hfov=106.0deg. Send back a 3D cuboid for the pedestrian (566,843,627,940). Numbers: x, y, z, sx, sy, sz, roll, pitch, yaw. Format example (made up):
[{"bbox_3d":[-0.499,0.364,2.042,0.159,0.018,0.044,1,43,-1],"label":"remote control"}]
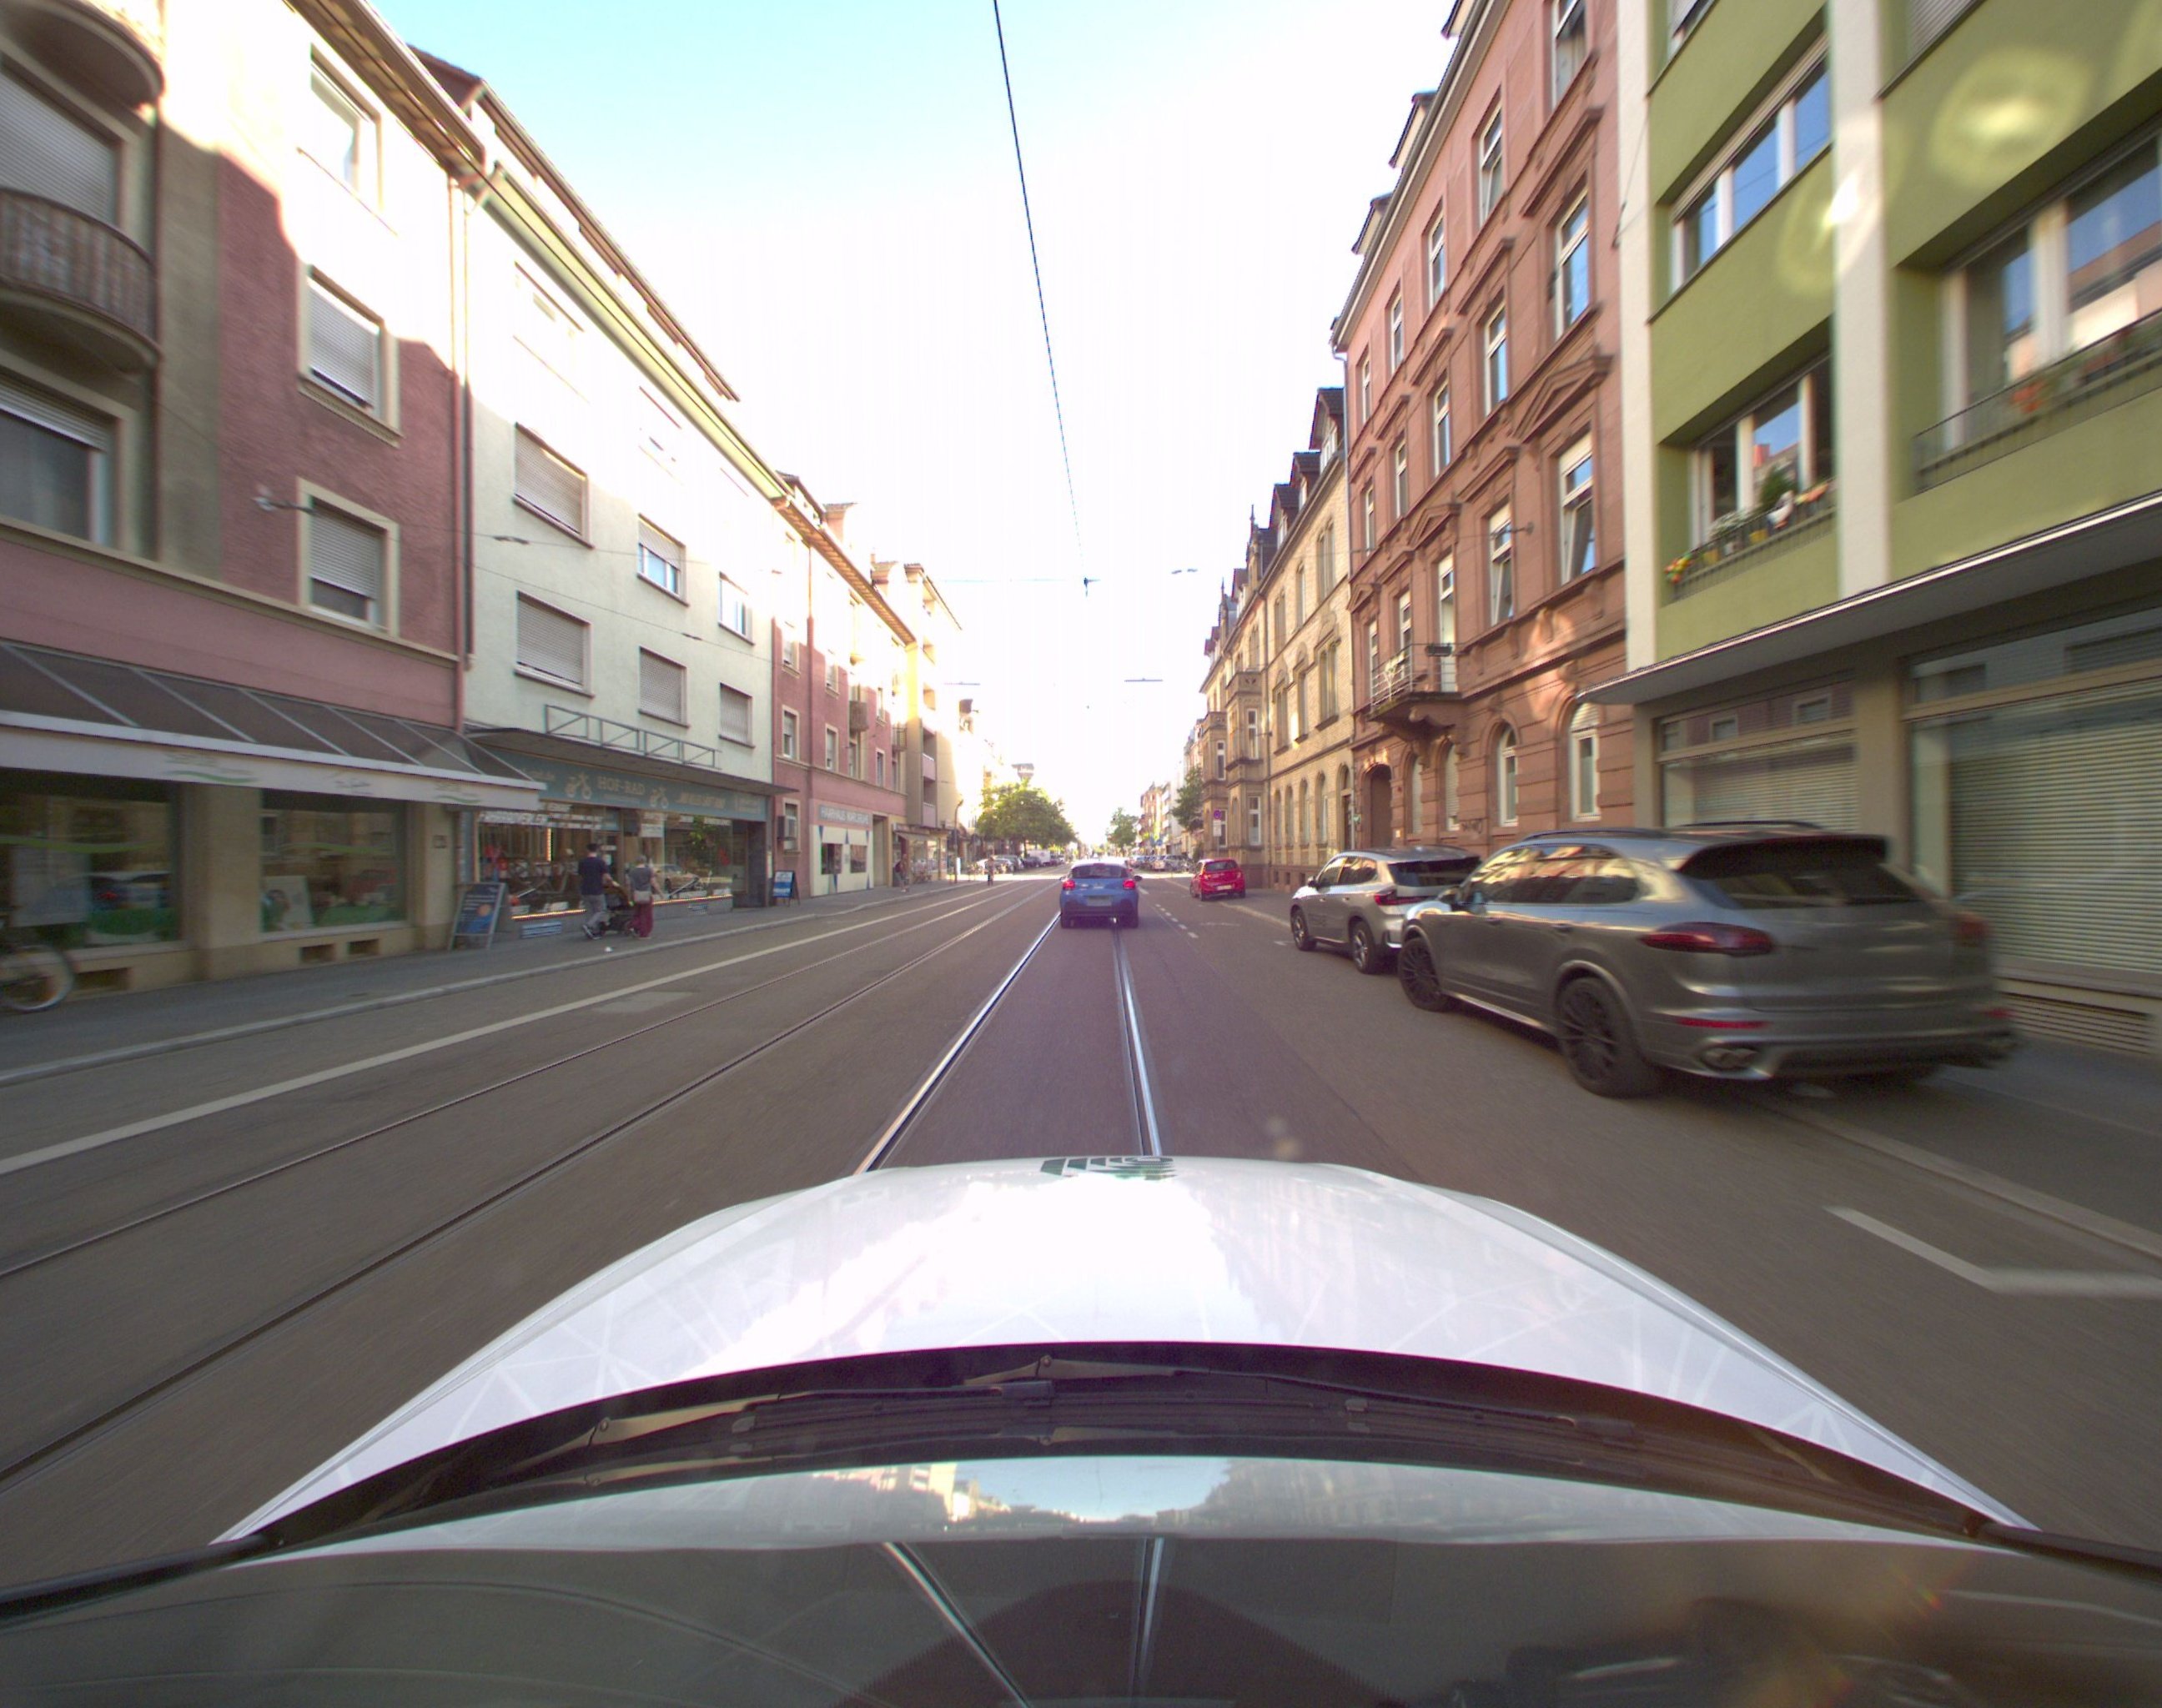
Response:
[{"bbox_3d":[-9.174,0.691,15.440,0.623,1.789,0.821,0,-1,1],"label":"pedestrian"}]

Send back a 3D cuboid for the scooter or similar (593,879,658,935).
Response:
[{"bbox_3d":[-9.166,1.053,16.413,0.659,1.061,1.105,0,0,2],"label":"scooter or similar"}]

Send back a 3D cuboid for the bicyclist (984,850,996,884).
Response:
[{"bbox_3d":[-5.325,0.756,47.766,0.609,2.014,0.734,0,-1,2],"label":"bicyclist"}]

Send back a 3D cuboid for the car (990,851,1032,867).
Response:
[{"bbox_3d":[-8.045,0.626,93.670,4.381,1.783,1.976,0,-1,-31],"label":"car"}]

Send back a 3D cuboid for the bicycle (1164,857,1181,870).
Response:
[{"bbox_3d":[8.161,0.828,72.566,1.551,1.127,0.295,0,-1,7],"label":"bicycle"}]

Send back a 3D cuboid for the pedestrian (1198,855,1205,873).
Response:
[{"bbox_3d":[11.143,0.902,75.310,0.516,1.649,0.864,0,-1,2],"label":"pedestrian"}]

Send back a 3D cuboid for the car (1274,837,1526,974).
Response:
[{"bbox_3d":[4.398,0.645,12.072,1.861,1.646,4.397,0,-1,-2],"label":"car"}]

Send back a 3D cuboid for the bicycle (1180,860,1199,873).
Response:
[{"bbox_3d":[9.532,1.086,71.327,1.665,1.127,0.552,0,-1,7],"label":"bicycle"}]

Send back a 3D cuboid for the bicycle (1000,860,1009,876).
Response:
[{"bbox_3d":[-6.711,1.210,71.523,0.680,1.319,2.434,0,2,-2],"label":"bicycle"}]

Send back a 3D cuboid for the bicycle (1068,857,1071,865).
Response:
[{"bbox_3d":[-2.312,1.433,164.704,0.678,1.679,2.097,0,-1,2],"label":"bicycle"}]

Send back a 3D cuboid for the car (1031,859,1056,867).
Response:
[{"bbox_3d":[-6.001,1.482,130.197,3.815,1.265,1.504,0,-1,-24],"label":"car"}]

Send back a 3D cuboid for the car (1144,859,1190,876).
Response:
[{"bbox_3d":[8.289,1.276,78.506,4.004,1.536,1.904,0,-1,-23],"label":"car"}]

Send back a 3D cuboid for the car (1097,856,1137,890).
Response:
[{"bbox_3d":[1.741,0.897,39.622,1.866,1.596,4.002,0,-1,2],"label":"car"}]

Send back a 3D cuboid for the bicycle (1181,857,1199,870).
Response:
[{"bbox_3d":[9.366,0.803,70.115,1.547,1.127,0.552,0,-1,7],"label":"bicycle"}]

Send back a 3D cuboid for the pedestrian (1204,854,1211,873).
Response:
[{"bbox_3d":[11.680,0.851,75.241,0.516,1.778,0.864,0,-1,2],"label":"pedestrian"}]

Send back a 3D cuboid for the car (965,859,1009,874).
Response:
[{"bbox_3d":[-8.914,1.146,77.396,3.804,1.400,1.737,0,-1,-32],"label":"car"}]

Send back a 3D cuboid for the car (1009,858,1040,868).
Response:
[{"bbox_3d":[-7.894,1.250,113.454,3.994,1.489,1.797,0,-1,-15],"label":"car"}]

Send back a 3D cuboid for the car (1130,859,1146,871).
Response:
[{"bbox_3d":[7.421,1.402,106.692,1.866,1.596,4.721,0,-1,2],"label":"car"}]

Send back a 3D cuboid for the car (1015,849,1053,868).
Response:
[{"bbox_3d":[-6.874,0.639,119.548,5.402,2.749,1.789,0,-1,-29],"label":"car"}]

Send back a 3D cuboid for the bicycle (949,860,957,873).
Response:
[{"bbox_3d":[-11.252,1.131,71.531,0.404,1.109,1.825,-1,-1,-19],"label":"bicycle"}]

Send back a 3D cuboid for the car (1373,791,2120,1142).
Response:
[{"bbox_3d":[4.164,0.584,6.445,1.986,1.615,4.787,-4,-1,1],"label":"car"}]

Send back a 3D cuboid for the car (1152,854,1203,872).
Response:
[{"bbox_3d":[9.014,0.831,75.890,4.370,1.596,1.839,0,-1,-23],"label":"car"}]

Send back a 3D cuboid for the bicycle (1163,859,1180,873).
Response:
[{"bbox_3d":[7.819,1.034,70.457,1.393,1.127,0.551,0,-1,-2],"label":"bicycle"}]

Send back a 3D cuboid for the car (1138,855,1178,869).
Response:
[{"bbox_3d":[8.702,0.907,91.783,4.004,1.596,2.071,0,-1,-23],"label":"car"}]

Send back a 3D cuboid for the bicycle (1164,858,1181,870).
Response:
[{"bbox_3d":[8.114,0.872,72.224,1.547,1.079,0.308,0,-1,7],"label":"bicycle"}]

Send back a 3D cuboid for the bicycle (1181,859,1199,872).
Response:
[{"bbox_3d":[9.443,1.009,70.675,1.547,1.127,0.529,0,-1,7],"label":"bicycle"}]

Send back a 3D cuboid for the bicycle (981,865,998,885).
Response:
[{"bbox_3d":[-5.330,1.216,47.477,0.600,1.096,2.045,-3,-1,2],"label":"bicycle"}]

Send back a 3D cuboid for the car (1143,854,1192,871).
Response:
[{"bbox_3d":[8.660,0.854,81.647,4.453,1.596,2.072,0,-1,-23],"label":"car"}]

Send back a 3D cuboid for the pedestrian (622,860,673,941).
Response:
[{"bbox_3d":[-8.461,0.888,15.904,0.633,1.548,0.624,0,-1,1],"label":"pedestrian"}]

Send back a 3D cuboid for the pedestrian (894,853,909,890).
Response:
[{"bbox_3d":[-8.119,0.796,36.839,0.561,1.686,0.616,0,-1,0],"label":"pedestrian"}]

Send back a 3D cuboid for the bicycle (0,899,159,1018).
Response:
[{"bbox_3d":[-10.356,1.012,7.762,0.423,1.060,2.330,0,-1,1],"label":"bicycle"}]

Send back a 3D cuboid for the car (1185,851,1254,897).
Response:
[{"bbox_3d":[5.105,0.706,30.586,1.859,1.483,4.402,-4,-1,1],"label":"car"}]

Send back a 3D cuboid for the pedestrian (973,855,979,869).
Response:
[{"bbox_3d":[-11.973,0.889,93.039,0.567,1.652,0.641,0,-1,2],"label":"pedestrian"}]

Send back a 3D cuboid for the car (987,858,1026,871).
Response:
[{"bbox_3d":[-8.130,1.126,88.813,3.850,1.430,1.752,0,-1,-25],"label":"car"}]

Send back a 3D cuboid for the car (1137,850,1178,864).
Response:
[{"bbox_3d":[8.853,0.364,94.232,4.321,1.596,1.967,0,-1,-23],"label":"car"}]

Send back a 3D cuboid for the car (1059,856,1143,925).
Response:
[{"bbox_3d":[0.454,0.782,18.806,1.756,1.441,3.557,0,-1,1],"label":"car"}]

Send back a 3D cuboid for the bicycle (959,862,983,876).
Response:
[{"bbox_3d":[-9.605,1.283,70.978,2.405,1.109,0.688,1,2,42],"label":"bicycle"}]

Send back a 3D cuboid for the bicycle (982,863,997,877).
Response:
[{"bbox_3d":[-8.060,1.404,71.597,0.685,1.123,1.870,-1,2,-29],"label":"bicycle"}]
